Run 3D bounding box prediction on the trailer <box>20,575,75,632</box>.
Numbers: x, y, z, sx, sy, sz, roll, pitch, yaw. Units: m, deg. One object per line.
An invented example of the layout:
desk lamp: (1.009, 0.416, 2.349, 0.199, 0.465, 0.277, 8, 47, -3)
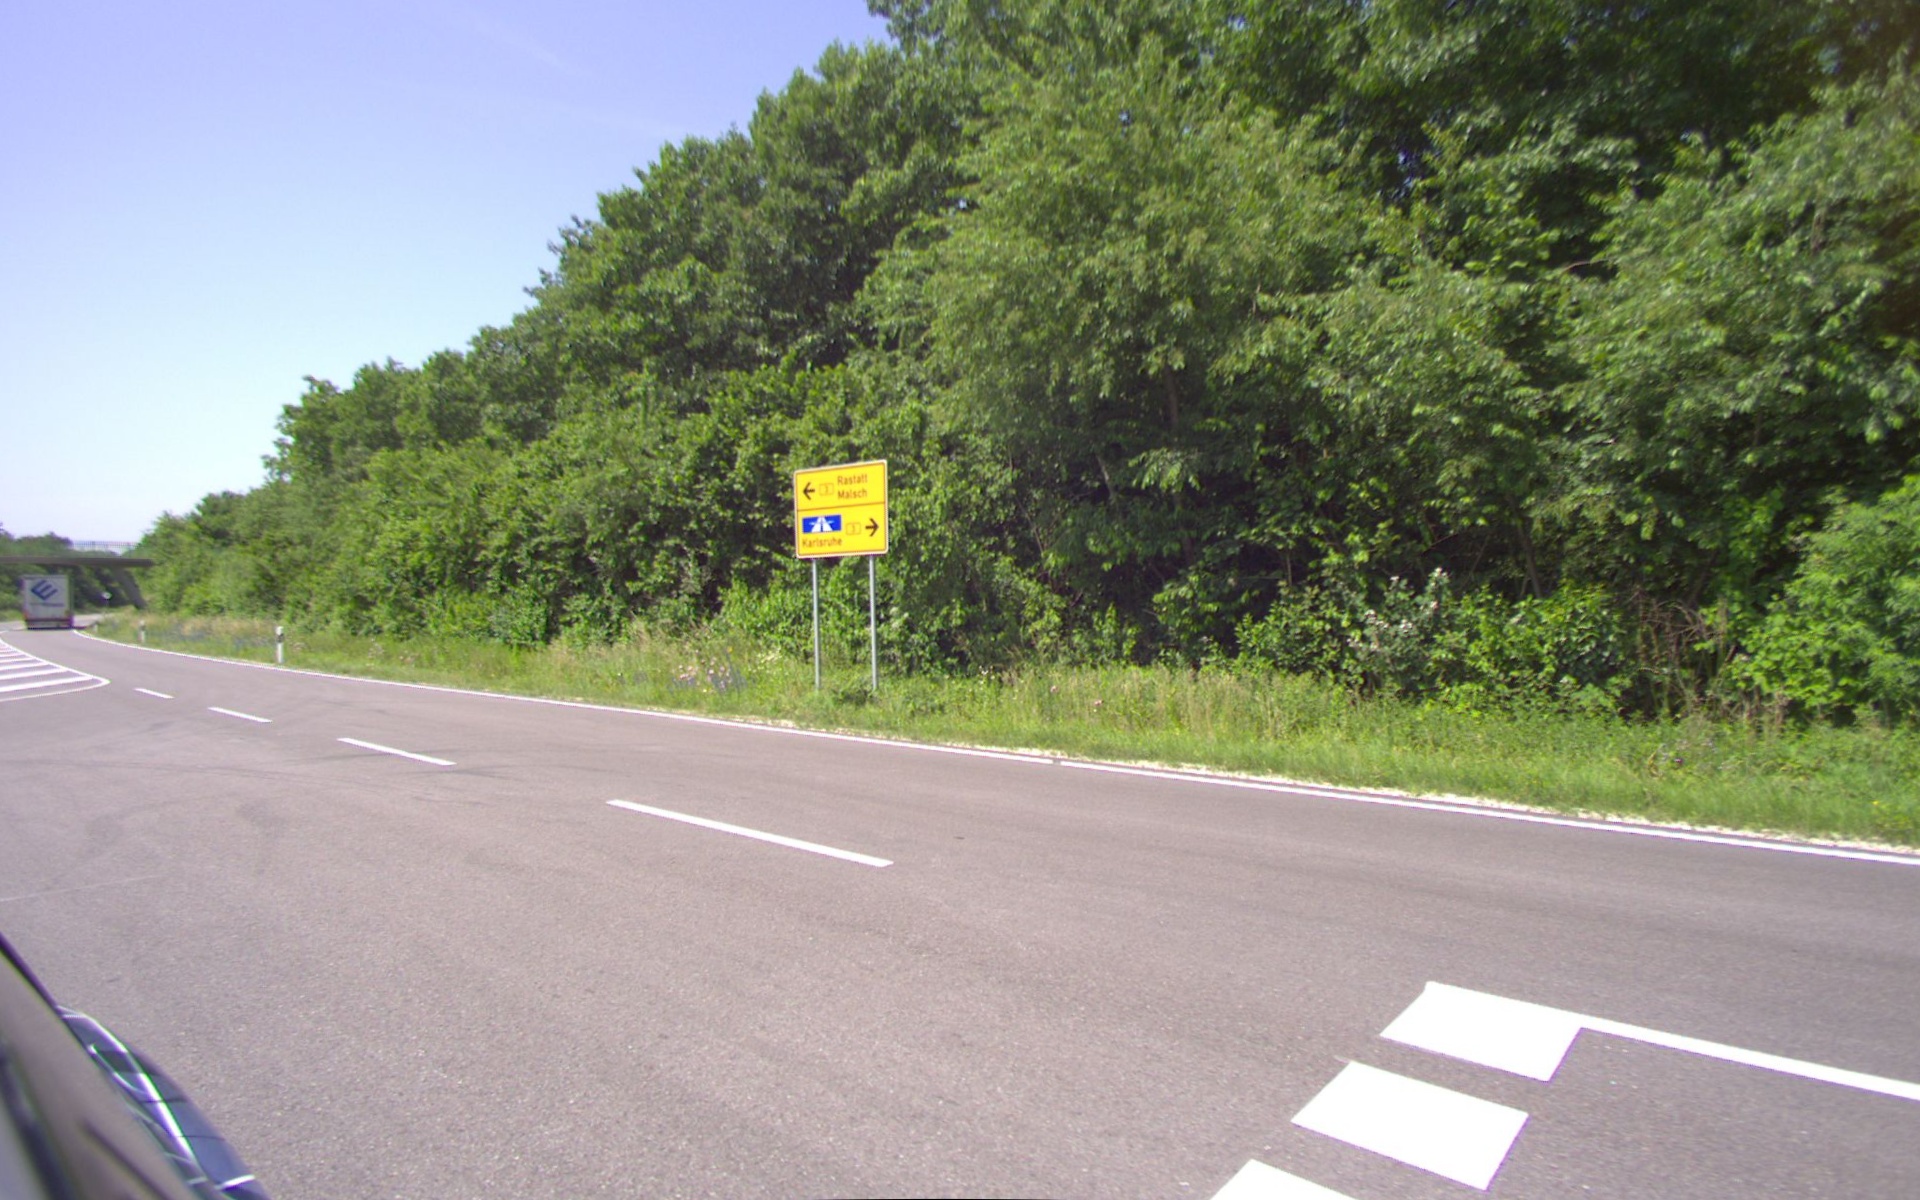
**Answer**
trailer: (-68.986, 0.277, 76.641, 2.793, 4.127, 9.015, 0, 0, -40)
